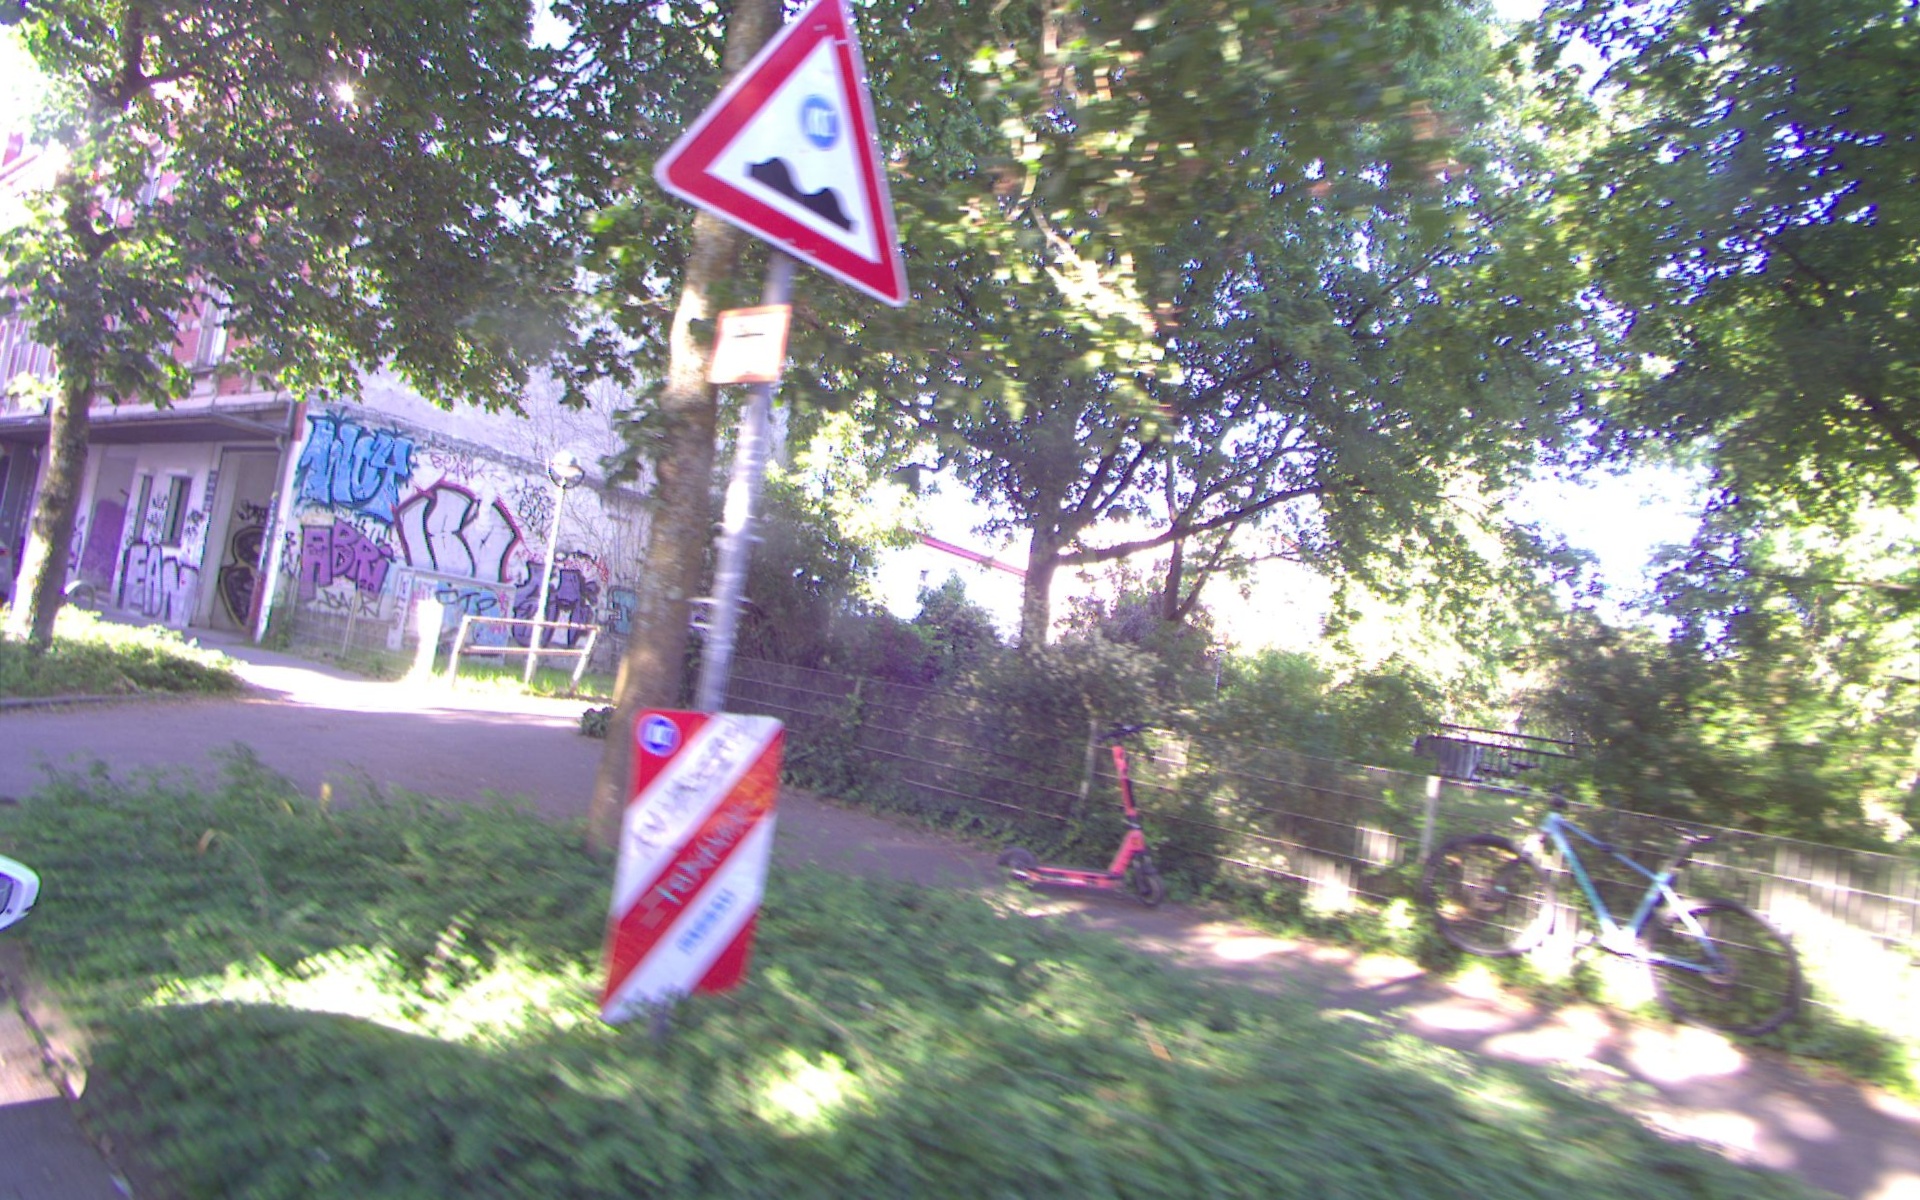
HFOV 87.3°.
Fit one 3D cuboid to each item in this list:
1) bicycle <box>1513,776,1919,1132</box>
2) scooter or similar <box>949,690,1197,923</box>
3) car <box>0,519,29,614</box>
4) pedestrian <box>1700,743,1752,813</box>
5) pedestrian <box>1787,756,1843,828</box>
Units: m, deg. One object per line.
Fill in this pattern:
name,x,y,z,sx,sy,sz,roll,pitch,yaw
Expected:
bicycle,4.412,1.786,5.055,2.651,1.282,0.847,7,-3,37
scooter or similar,0.743,1.353,6.770,1.445,1.276,0.547,8,-1,4
car,-18.314,-0.841,17.725,4.328,1.578,1.725,6,-4,34
pedestrian,24.769,5.747,32.554,0.737,2.036,0.911,8,-2,-8
pedestrian,26.797,5.999,31.537,0.737,2.036,0.911,8,-2,-8
